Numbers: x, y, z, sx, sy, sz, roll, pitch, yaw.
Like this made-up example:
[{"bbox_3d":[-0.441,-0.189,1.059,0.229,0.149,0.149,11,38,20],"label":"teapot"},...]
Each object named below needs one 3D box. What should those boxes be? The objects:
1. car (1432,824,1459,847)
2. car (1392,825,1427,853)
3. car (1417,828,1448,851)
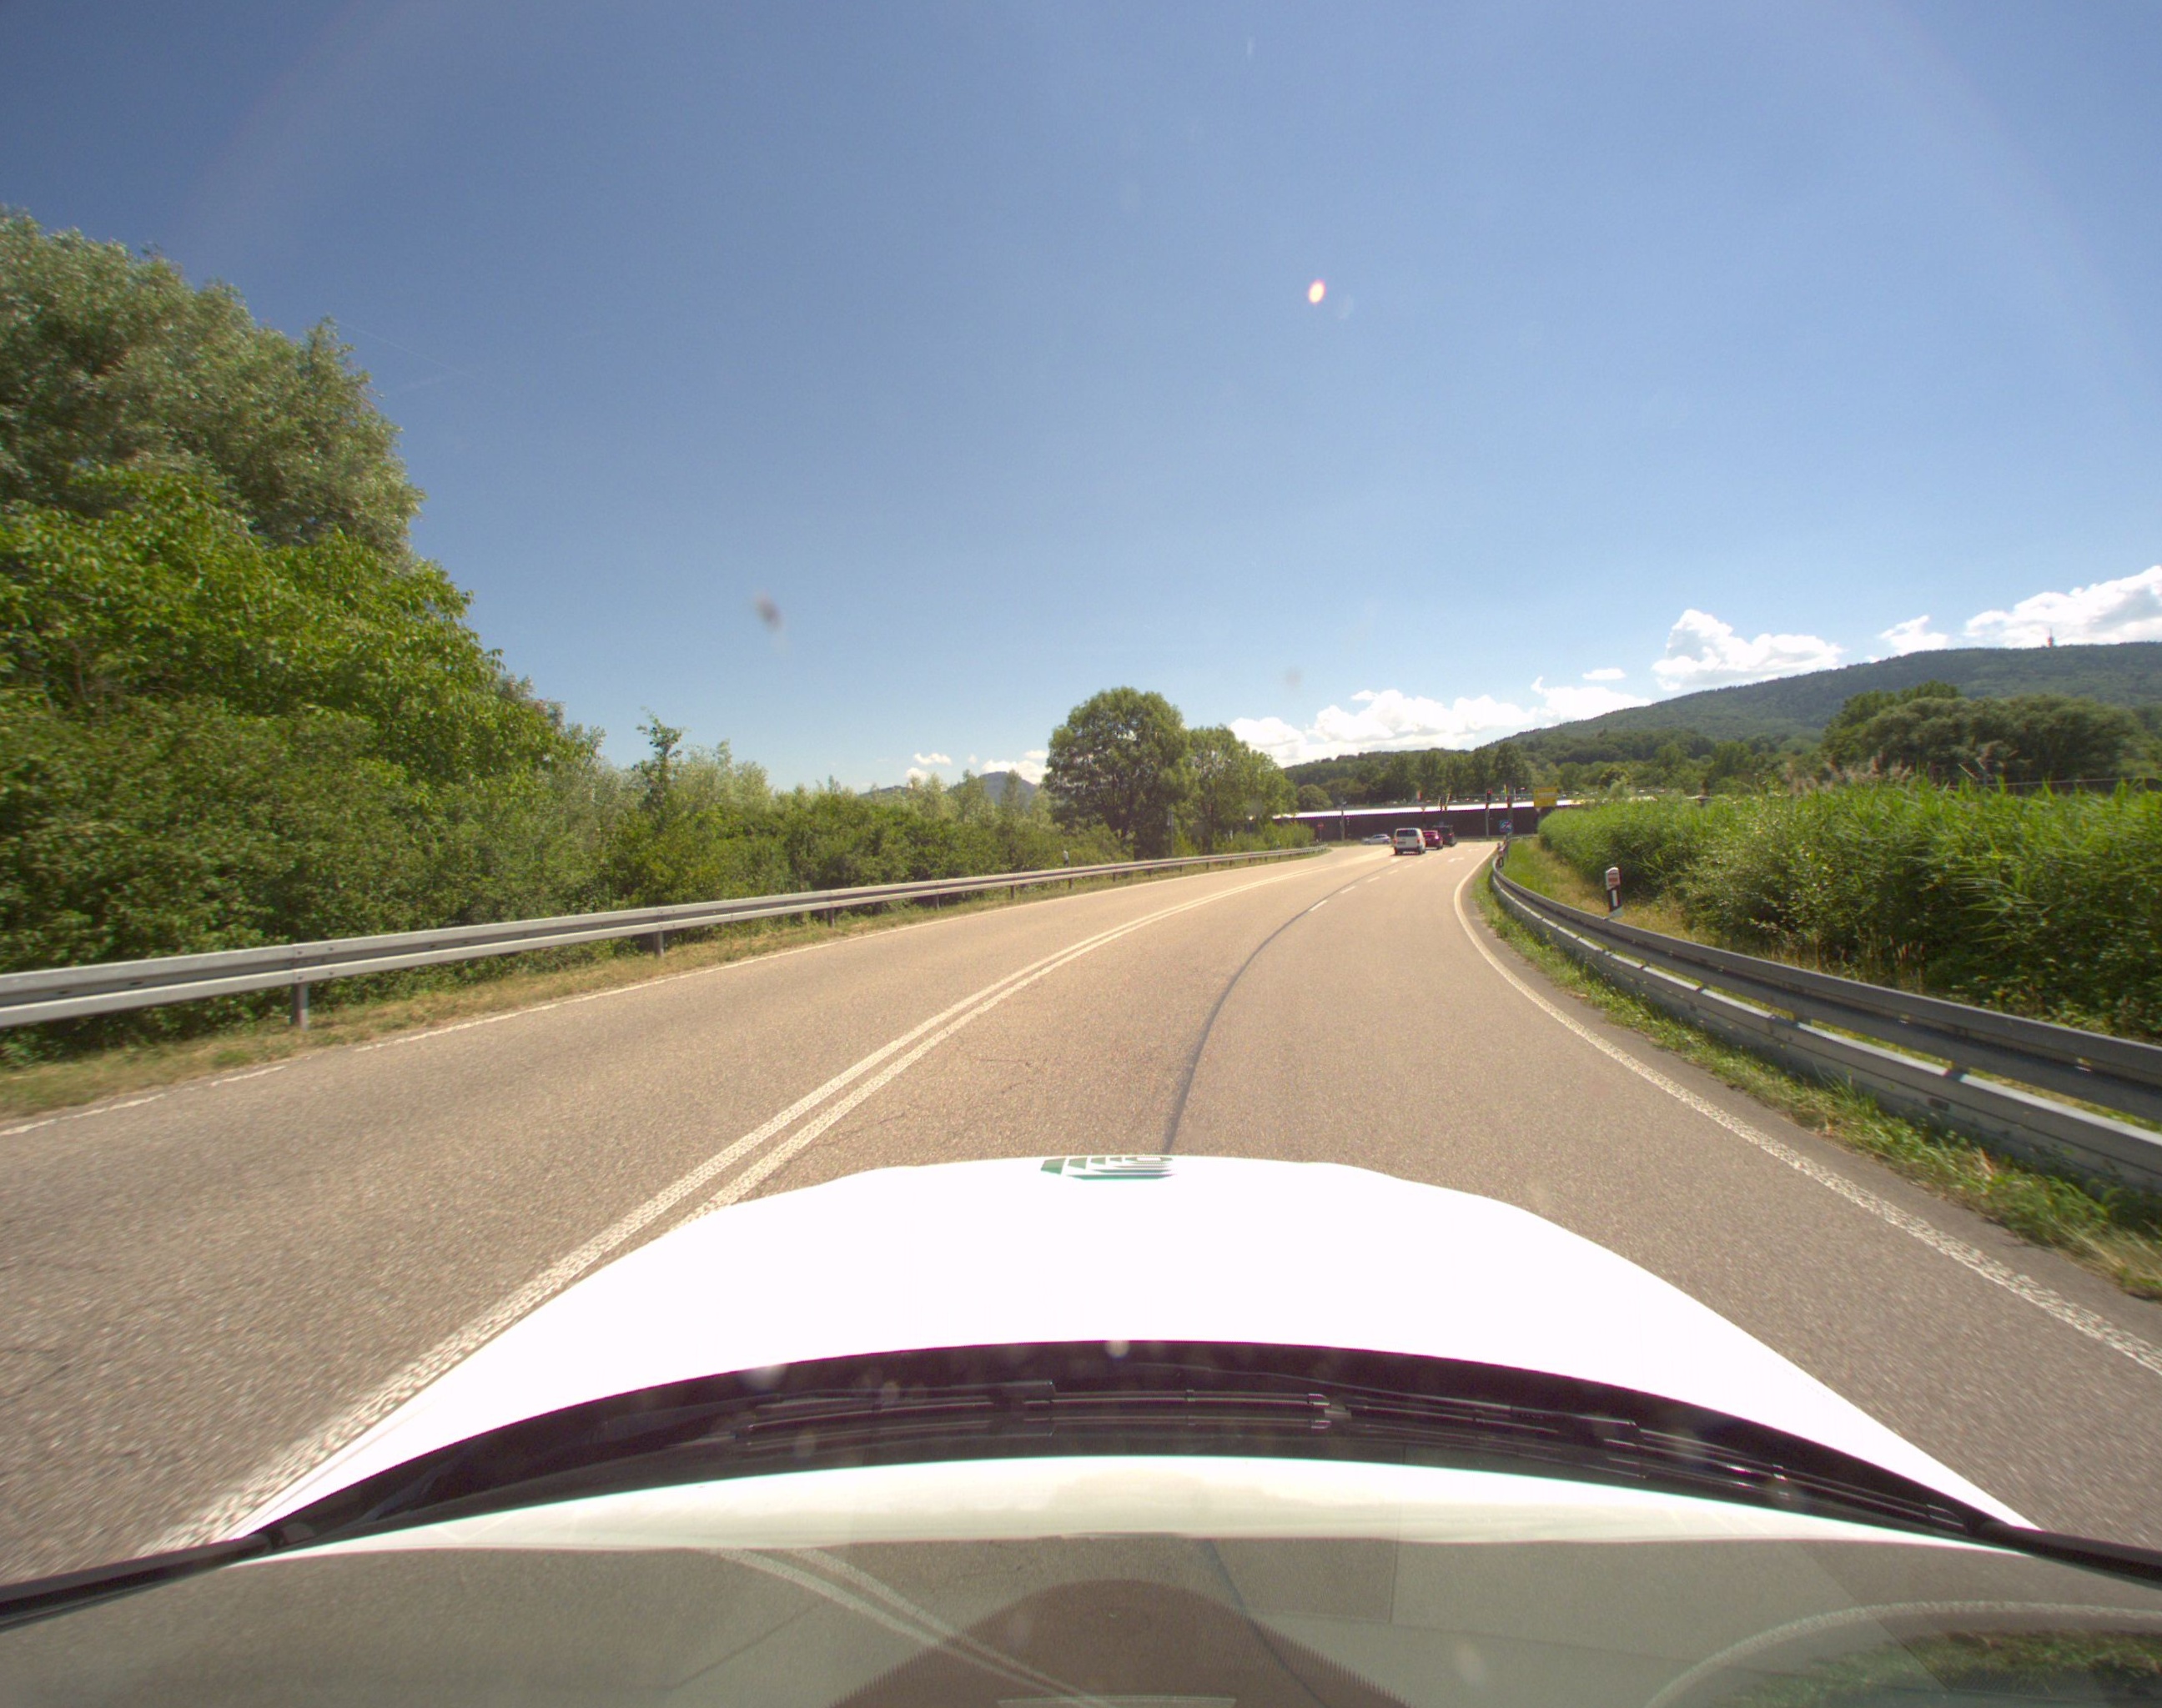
[{"bbox_3d":[35.032,-1.801,78.240,1.974,2.013,4.025,-3,0,29],"label":"car"},{"bbox_3d":[24.094,-1.099,59.657,1.852,1.964,4.025,-1,1,28],"label":"car"},{"bbox_3d":[30.389,-1.267,70.356,1.974,1.812,4.025,-3,0,29],"label":"car"}]
